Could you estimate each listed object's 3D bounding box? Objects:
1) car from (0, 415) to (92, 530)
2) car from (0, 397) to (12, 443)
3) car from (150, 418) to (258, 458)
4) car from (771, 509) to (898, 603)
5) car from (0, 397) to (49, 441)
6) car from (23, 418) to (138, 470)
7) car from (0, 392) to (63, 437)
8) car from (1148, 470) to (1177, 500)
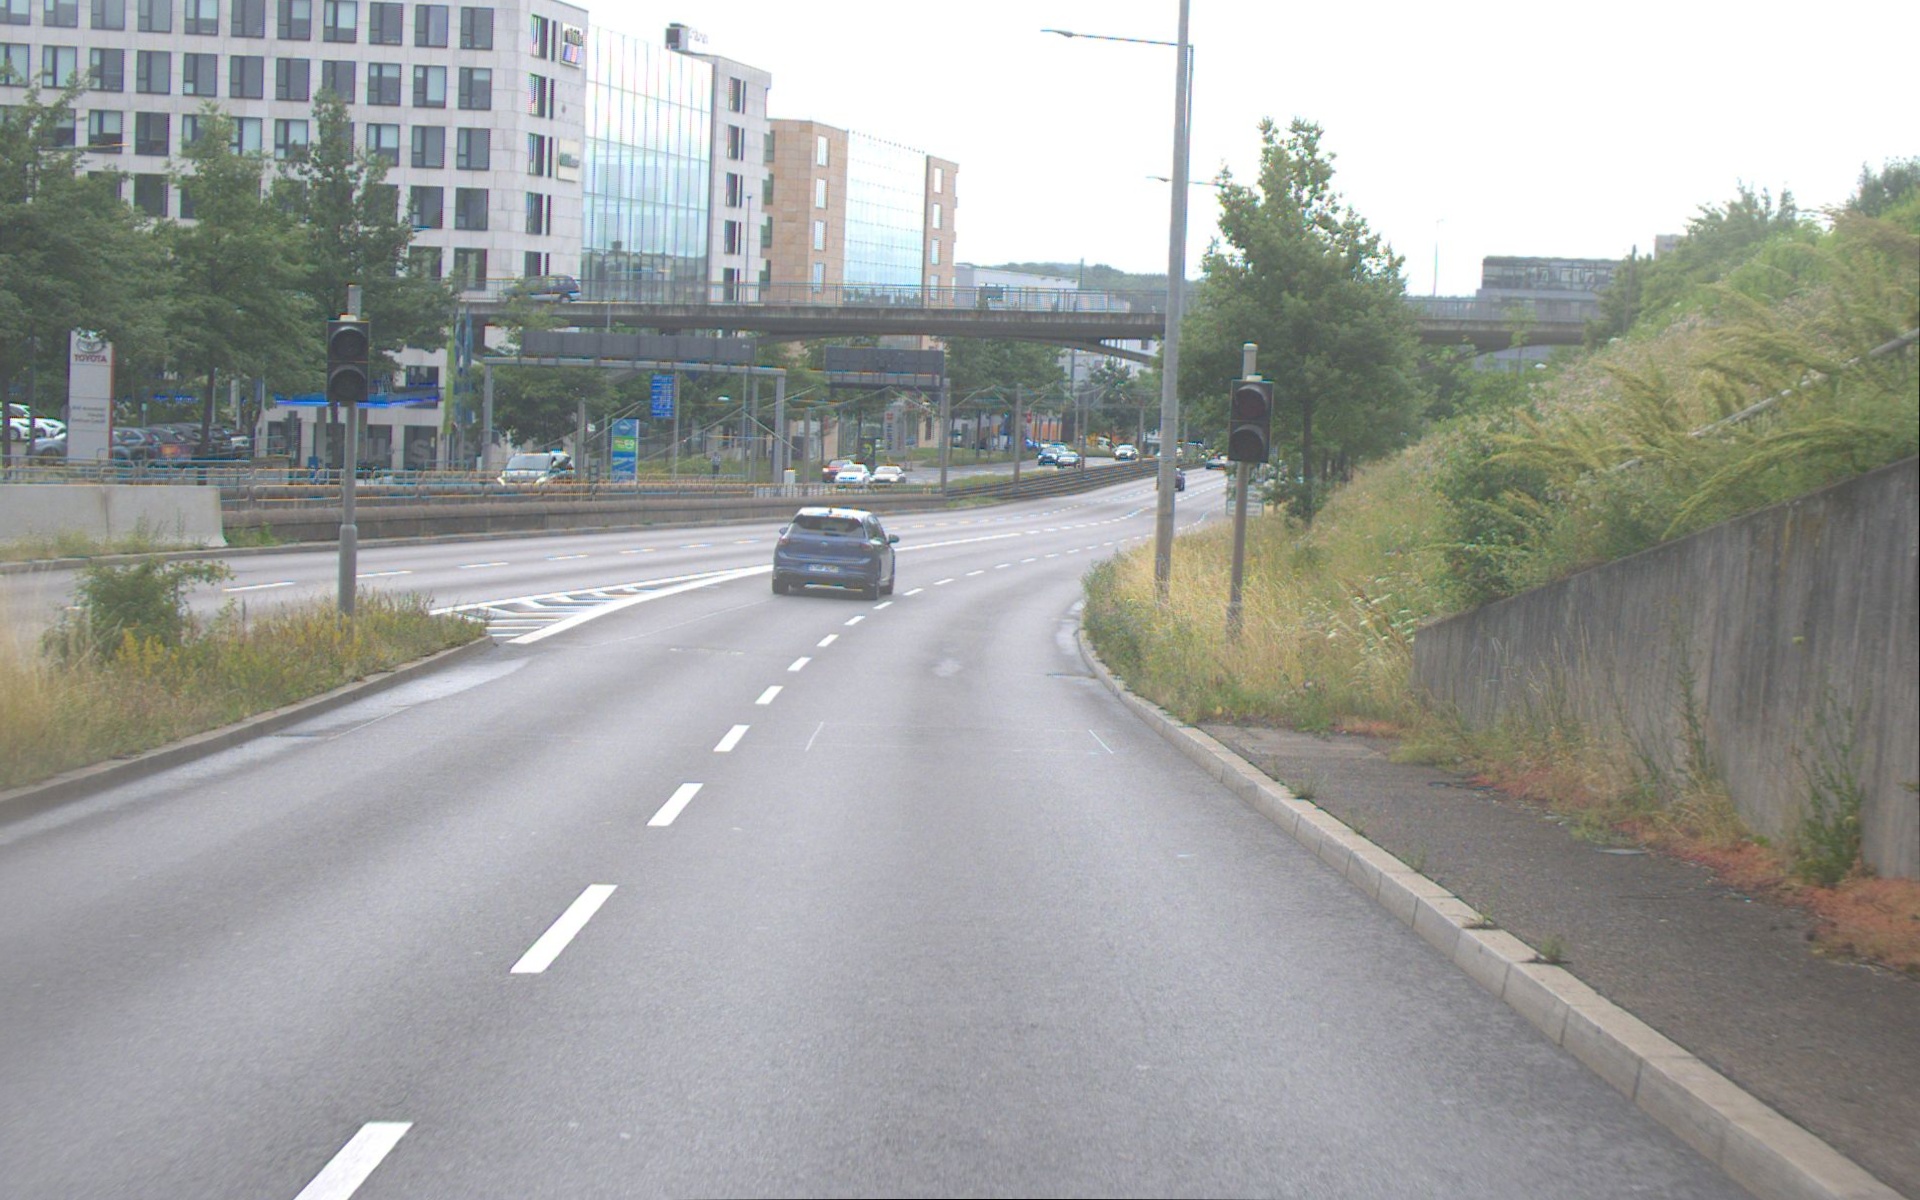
[{"bbox_3d":[-15.533,-2.100,55.720,1.688,1.584,3.549,5,5,5],"label":"car"},{"bbox_3d":[-41.488,-7.566,141.900,3.989,1.869,1.999,6,5,12],"label":"car"},{"bbox_3d":[-32.018,-6.878,145.630,3.989,1.349,1.849,5,3,9],"label":"car"},{"bbox_3d":[-2.072,-0.762,57.583,1.749,1.415,3.478,0,3,4],"label":"car"},{"bbox_3d":[-41.403,-7.852,147.313,3.989,1.645,1.999,6,5,12],"label":"car"},{"bbox_3d":[-34.089,-6.060,133.264,3.986,1.645,2.001,4,3,-23],"label":"car"},{"bbox_3d":[-41.458,-8.138,149.879,3.989,1.645,1.999,6,5,12],"label":"car"},{"bbox_3d":[14.110,-8.040,239.386,1.863,1.743,4.001,5,5,3],"label":"car"}]
